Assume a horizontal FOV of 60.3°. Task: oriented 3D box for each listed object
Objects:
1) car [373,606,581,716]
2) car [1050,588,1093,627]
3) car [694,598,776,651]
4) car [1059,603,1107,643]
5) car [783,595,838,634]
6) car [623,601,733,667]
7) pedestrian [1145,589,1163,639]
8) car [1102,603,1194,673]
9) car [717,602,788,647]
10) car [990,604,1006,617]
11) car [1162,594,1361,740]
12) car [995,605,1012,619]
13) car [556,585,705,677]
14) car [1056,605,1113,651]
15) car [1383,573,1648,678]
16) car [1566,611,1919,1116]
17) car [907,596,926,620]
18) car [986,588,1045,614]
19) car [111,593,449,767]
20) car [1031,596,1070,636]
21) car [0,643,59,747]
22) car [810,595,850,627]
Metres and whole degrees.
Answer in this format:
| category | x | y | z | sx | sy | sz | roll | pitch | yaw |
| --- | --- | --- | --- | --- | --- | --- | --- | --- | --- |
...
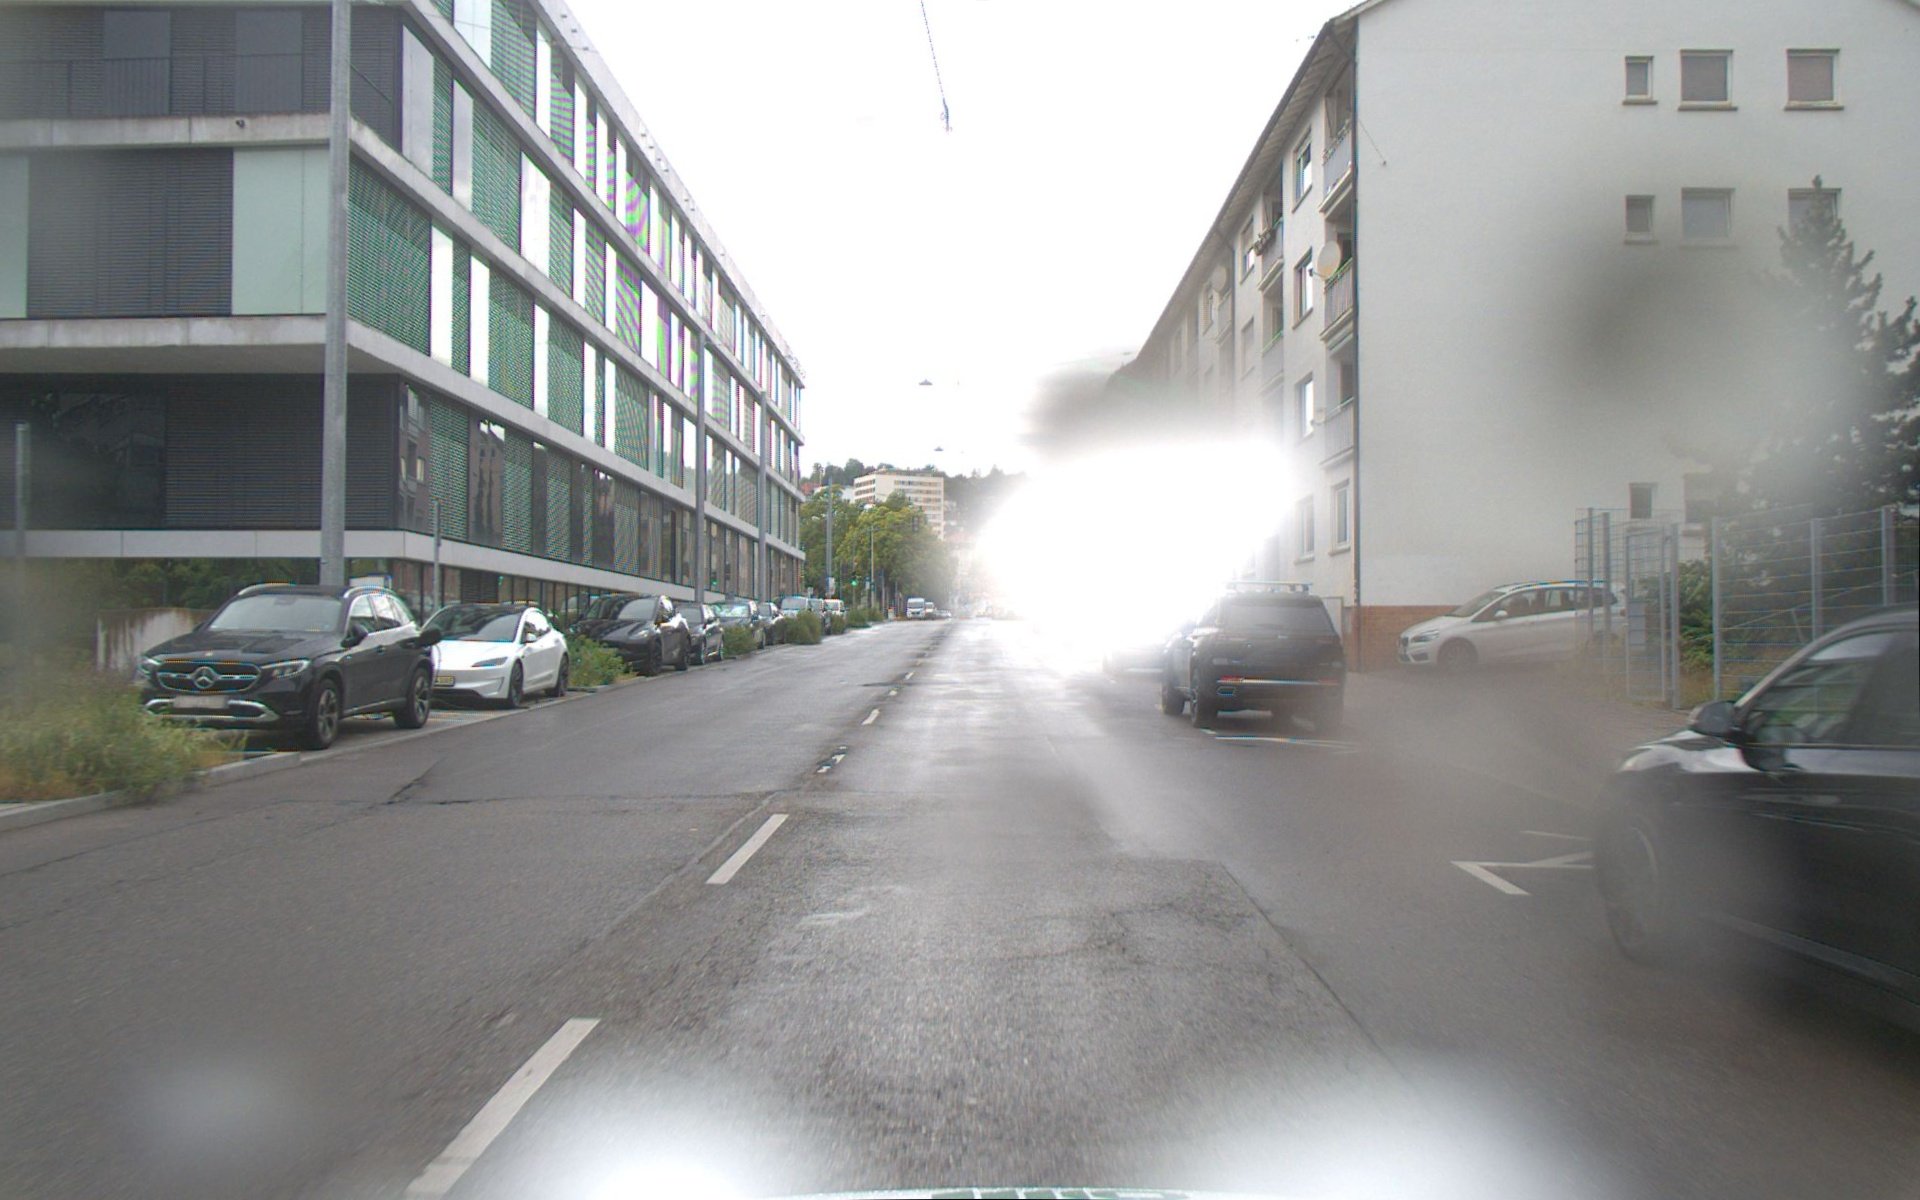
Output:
| category | x | y | z | sx | sy | sz | roll | pitch | yaw |
| --- | --- | --- | --- | --- | --- | --- | --- | --- | --- |
| car | -7.152 | 0.850 | 24.961 | 1.783 | 1.443 | 4.402 | 1 | 0 | 1 |
| car | 4.800 | 0.306 | 71.405 | 1.601 | 1.598 | 3.711 | 1 | 0 | 0 |
| car | -6.805 | 0.712 | 50.403 | 1.824 | 1.515 | 4.347 | 1 | 0 | 1 |
| car | 4.631 | 0.845 | 62.660 | 1.550 | 1.438 | 3.654 | 1 | 0 | 0 |
| car | -6.530 | 0.634 | 72.431 | 1.764 | 1.632 | 4.236 | 1 | 0 | 3 |
| car | -6.918 | 0.792 | 41.056 | 1.833 | 1.498 | 4.741 | 1 | 0 | 1 |
| pedestrian | 7.428 | 0.535 | 63.399 | 0.625 | 1.903 | 0.539 | 1 | 0 | 2 |
| car | 4.224 | 0.828 | 37.647 | 1.639 | 1.485 | 3.764 | 1 | 0 | 0 |
| car | -7.072 | 0.816 | 56.751 | 1.800 | 1.420 | 4.392 | 1 | 0 | 1 |
| car | 4.736 | 1.292 | 207.777 | 1.828 | 1.632 | 4.191 | 1 | 0 | 3 |
| car | 4.052 | 0.828 | 23.015 | 1.896 | 1.780 | 4.797 | 1 | 0 | 0 |
| car | 5.283 | 1.451 | 199.603 | 1.828 | 1.632 | 4.191 | 1 | 0 | 3 |
| car | -6.883 | 0.598 | 35.104 | 1.922 | 1.780 | 4.943 | 1 | 0 | 3 |
| car | 4.275 | 0.939 | 57.288 | 1.671 | 1.479 | 3.984 | 1 | 0 | 0 |
| car | 10.524 | 0.465 | 31.553 | 4.347 | 1.742 | 1.905 | -3 | 0 | 0 |
| car | 3.888 | 0.864 | 6.006 | 1.708 | 1.560 | 4.318 | 1 | 0 | -1 |
| car | -4.872 | 0.844 | 185.231 | 2.062 | 2.591 | 4.749 | 1 | 0 | -2 |
| car | 3.970 | 0.104 | 119.310 | 4.127 | 1.698 | 1.632 | -2 | -5 | 40 |
| car | -7.303 | 0.770 | 18.316 | 1.811 | 1.646 | 4.491 | 1 | 0 | 1 |
| car | 4.238 | 0.716 | 78.006 | 1.621 | 1.768 | 4.180 | 1 | 1 | 0 |
| car | -21.506 | 1.937 | 34.733 | 4.253 | 2.068 | 1.598 | 1 | 0 | 0 |
| car | -6.550 | 0.525 | 83.361 | 1.562 | 1.485 | 3.720 | 1 | 1 | 2 |
